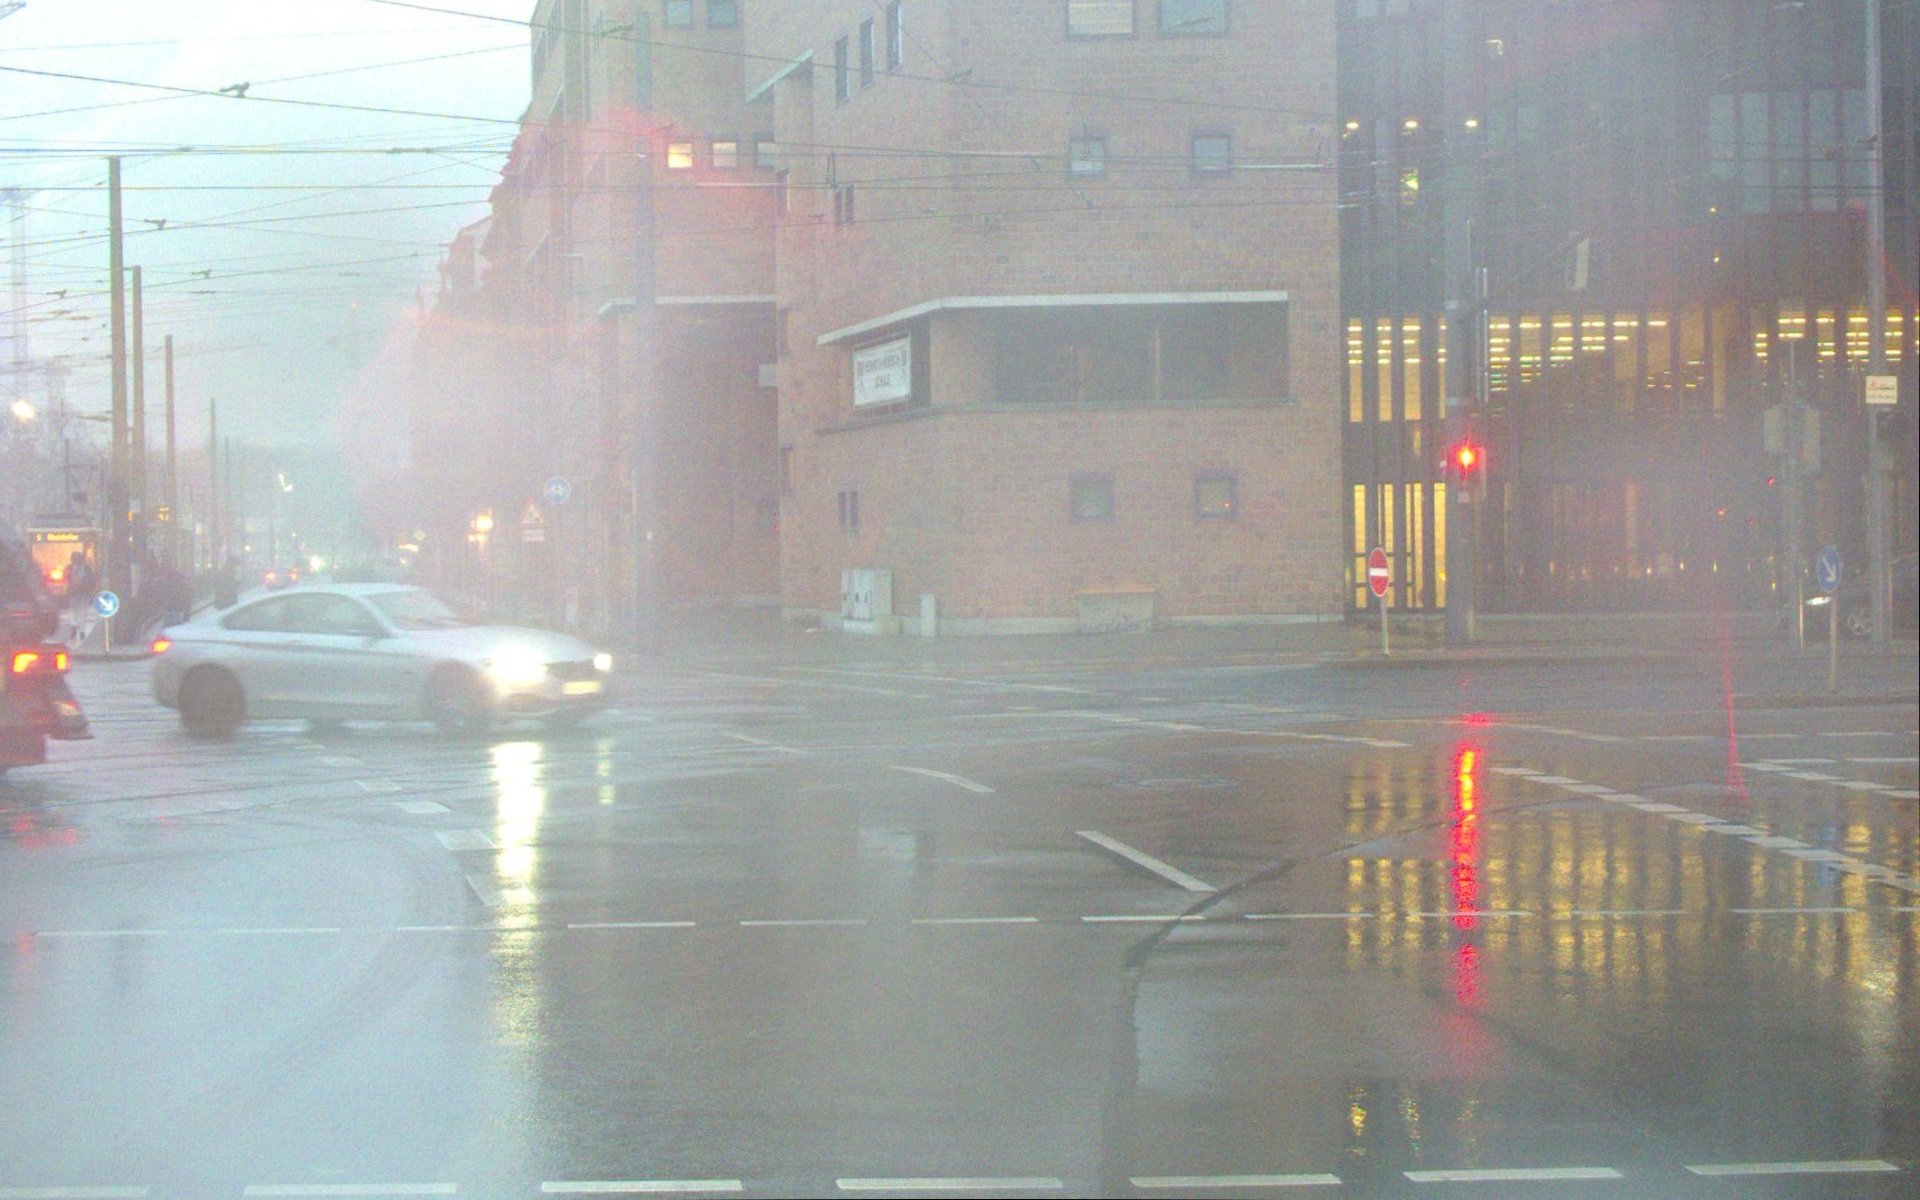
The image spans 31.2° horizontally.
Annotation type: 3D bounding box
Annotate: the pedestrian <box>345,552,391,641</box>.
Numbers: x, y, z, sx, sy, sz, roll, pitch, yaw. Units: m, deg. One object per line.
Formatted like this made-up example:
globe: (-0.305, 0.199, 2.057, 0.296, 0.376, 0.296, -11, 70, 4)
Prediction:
pedestrian: (-11.385, -0.074, 66.121, 0.843, 1.681, 0.649, -1, 1, -10)

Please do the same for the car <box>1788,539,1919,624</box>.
car: (15.695, -0.332, 55.741, 3.986, 1.305, 2.000, -1, 1, -4)

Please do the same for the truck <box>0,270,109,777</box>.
truck: (-9.779, -0.552, 26.984, 2.840, 3.621, 7.523, -1, 1, -41)

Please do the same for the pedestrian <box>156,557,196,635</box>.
pedestrian: (-15.083, -0.078, 66.144, 0.700, 1.479, 0.576, -1, 1, -10)

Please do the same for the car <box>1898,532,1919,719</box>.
car: (10.392, 0.183, 28.267, 4.818, 1.556, 2.050, -1, 1, 3)

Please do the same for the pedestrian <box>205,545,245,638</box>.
pedestrian: (-13.705, -0.160, 64.116, 0.666, 1.719, 0.488, -1, 1, -10)

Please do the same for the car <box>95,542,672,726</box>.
car: (-5.443, 0.294, 32.376, 4.995, 1.602, 2.250, 0, 1, 28)
